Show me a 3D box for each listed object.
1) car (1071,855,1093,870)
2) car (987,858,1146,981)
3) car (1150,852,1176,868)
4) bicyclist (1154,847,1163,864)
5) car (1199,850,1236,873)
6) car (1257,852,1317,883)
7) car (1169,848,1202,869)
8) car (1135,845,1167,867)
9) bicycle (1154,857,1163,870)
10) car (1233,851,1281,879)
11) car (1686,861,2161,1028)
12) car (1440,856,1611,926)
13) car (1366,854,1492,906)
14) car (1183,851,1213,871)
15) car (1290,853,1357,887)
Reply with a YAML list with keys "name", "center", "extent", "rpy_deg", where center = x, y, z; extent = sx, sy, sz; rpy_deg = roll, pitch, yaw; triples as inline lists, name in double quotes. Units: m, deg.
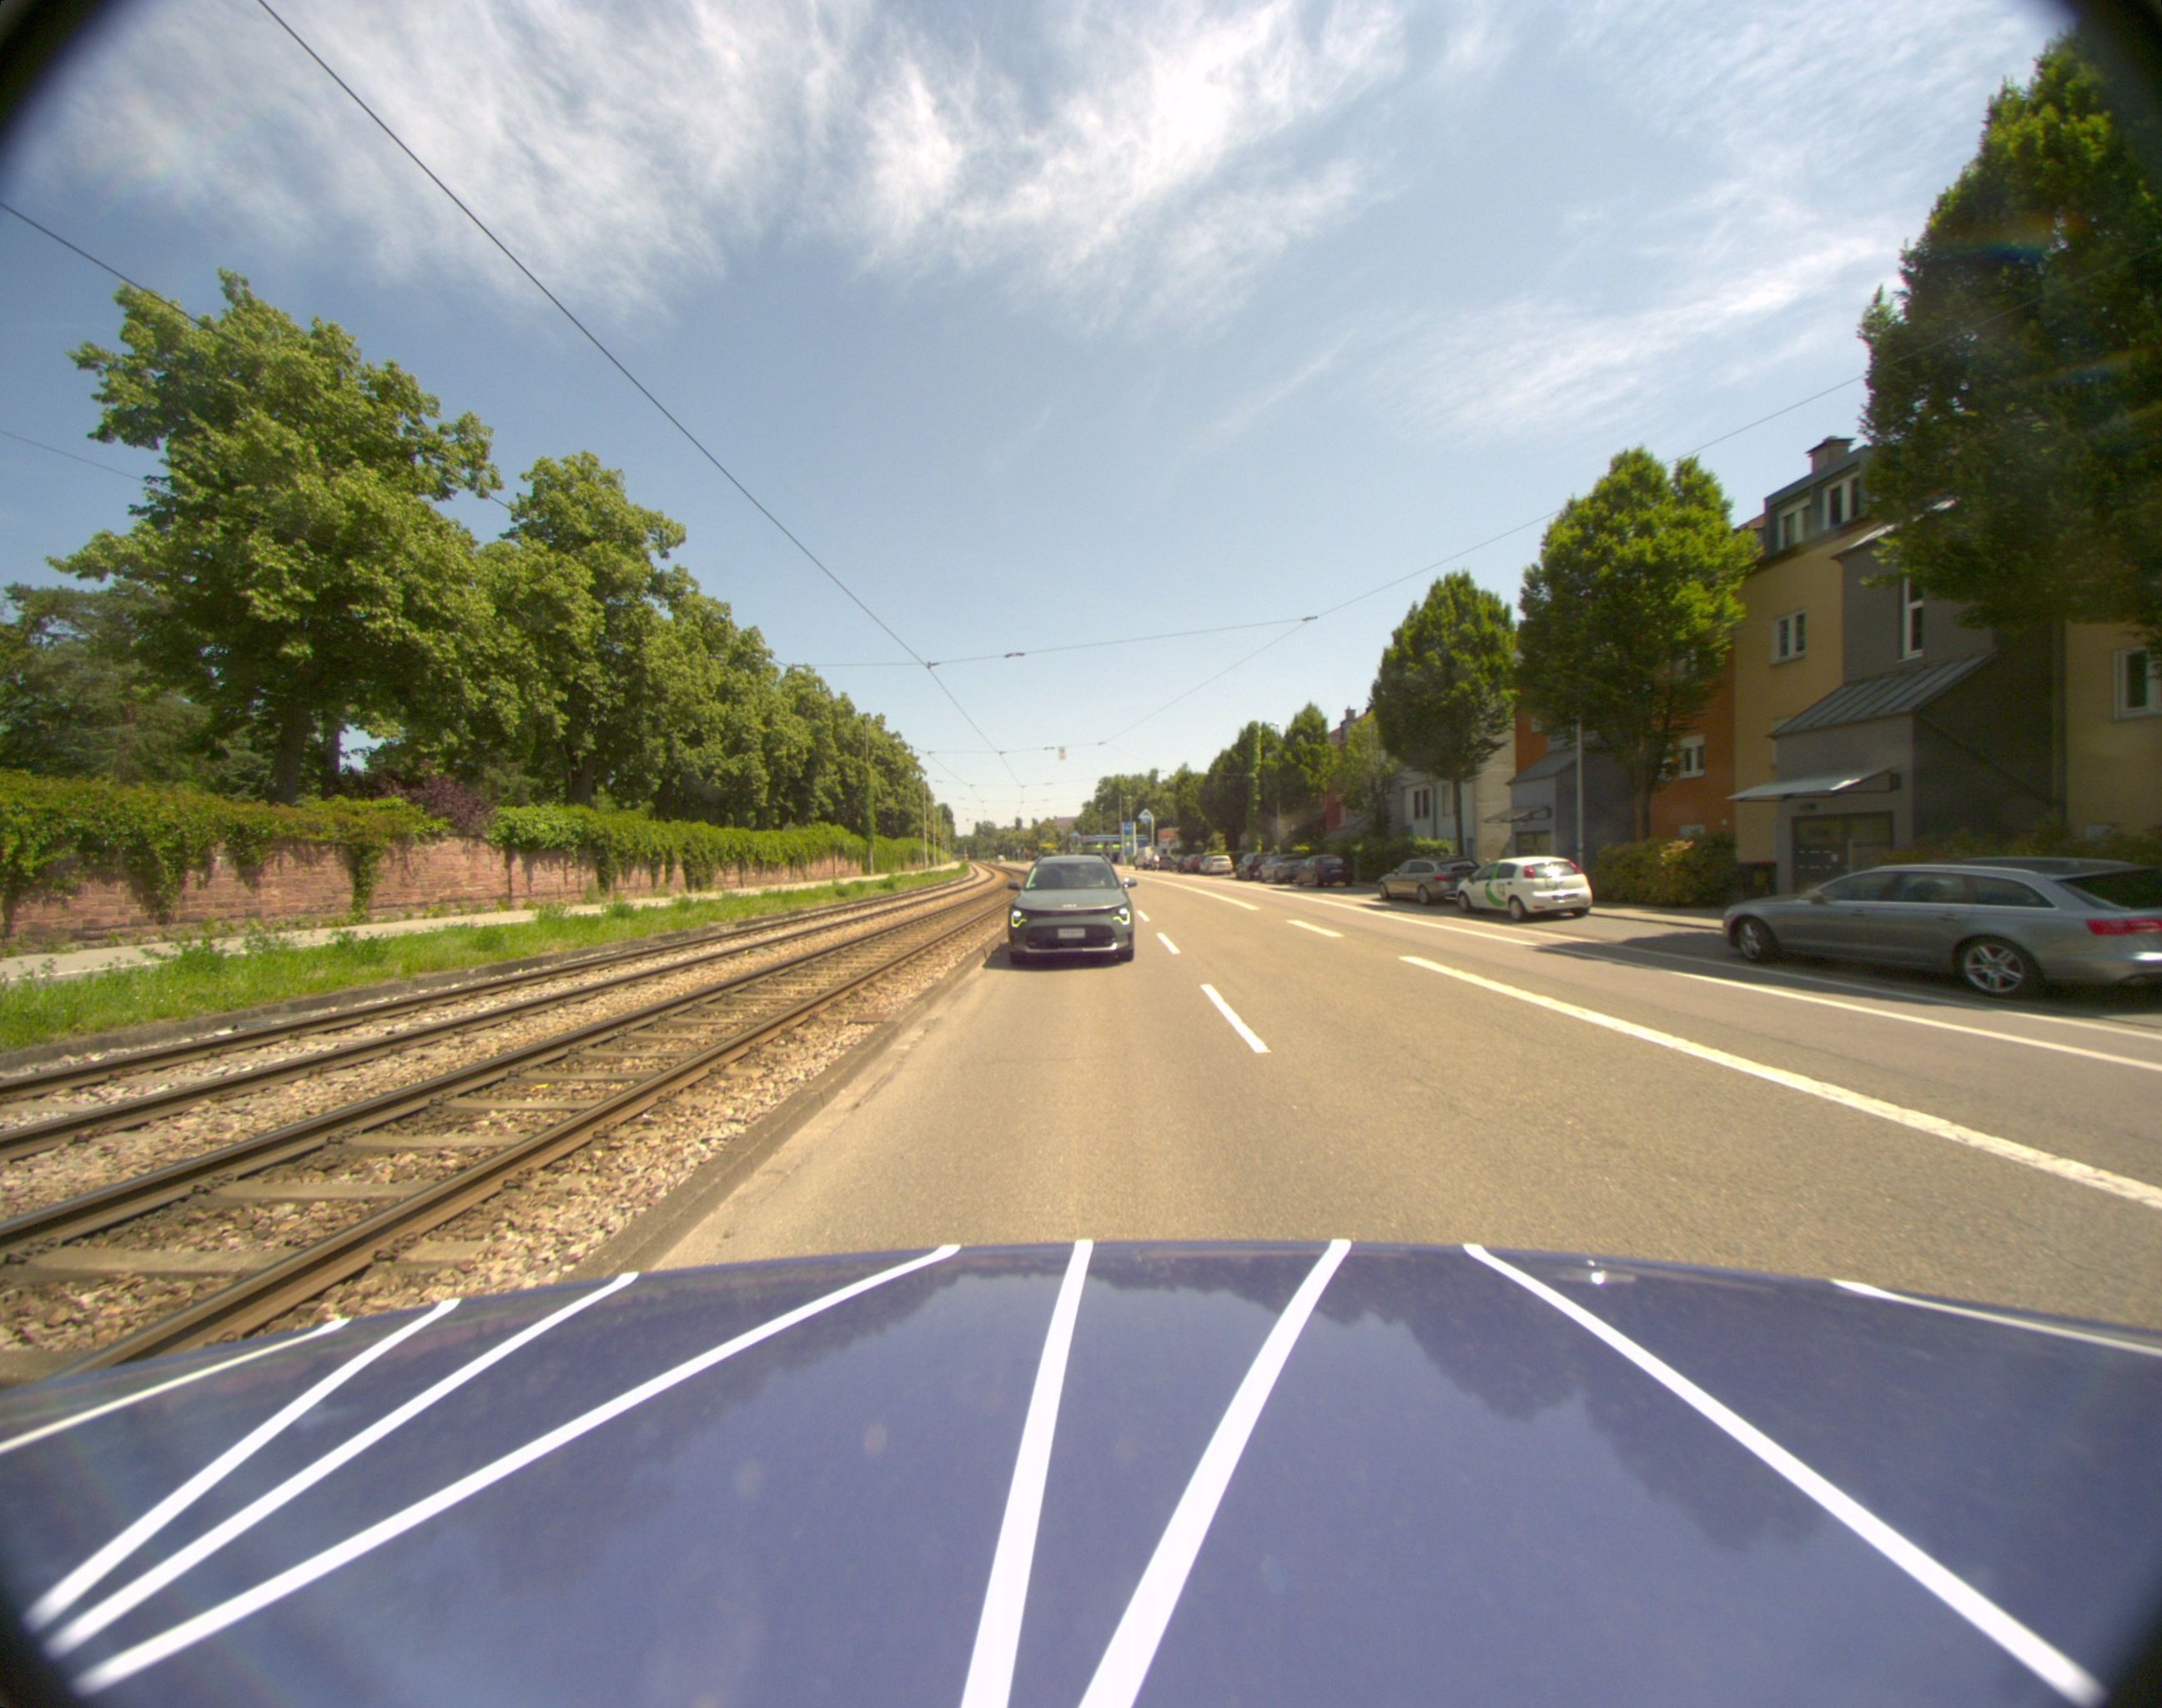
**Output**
- name: "car"
  center: [0.053, 0.879, 76.944]
  extent: [1.696, 1.403, 3.513]
  rpy_deg: [-2, 0, -7]
- name: "car"
  center: [-0.080, 0.897, 12.206]
  extent: [2.062, 1.534, 4.001]
  rpy_deg: [-3, 0, 3]
- name: "car"
  center: [8.475, 0.611, 78.725]
  extent: [1.870, 1.528, 4.142]
  rpy_deg: [-3, 0, -4]
- name: "bicyclist"
  center: [7.054, 0.142, 68.795]
  extent: [0.737, 1.496, 0.737]
  rpy_deg: [1, 2, 1]
- name: "car"
  center: [10.471, 0.573, 58.657]
  extent: [1.845, 1.573, 4.495]
  rpy_deg: [-3, 0, -2]
- name: "car"
  center: [11.155, 0.684, 41.513]
  extent: [1.830, 1.487, 4.756]
  rpy_deg: [-3, 0, -1]
- name: "car"
  center: [9.570, 0.396, 69.759]
  extent: [1.999, 1.783, 4.556]
  rpy_deg: [-1, 0, -5]
- name: "car"
  center: [7.766, 0.203, 84.697]
  extent: [2.285, 2.294, 5.226]
  rpy_deg: [-3, 0, -8]
- name: "bicycle"
  center: [7.056, 0.823, 68.882]
  extent: [0.641, 1.089, 1.638]
  rpy_deg: [1, 1, 1]
- name: "car"
  center: [10.915, 0.636, 47.334]
  extent: [1.772, 1.579, 4.147]
  rpy_deg: [-3, 0, -3]
- name: "car"
  center: [10.840, 0.894, 9.855]
  extent: [1.791, 1.441, 5.133]
  rpy_deg: [-5, 0, 0]
- name: "car"
  center: [11.287, 0.855, 19.715]
  extent: [1.750, 1.434, 4.420]
  rpy_deg: [-6, 0, 1]
- name: "car"
  center: [11.339, 0.786, 25.183]
  extent: [1.708, 1.421, 4.750]
  rpy_deg: [-6, 0, -2]
- name: "car"
  center: [9.881, 0.585, 64.551]
  extent: [1.604, 1.584, 3.680]
  rpy_deg: [-3, 0, -5]
- name: "car"
  center: [11.468, 0.696, 36.223]
  extent: [1.754, 1.424, 4.257]
  rpy_deg: [-3, 0, 0]
